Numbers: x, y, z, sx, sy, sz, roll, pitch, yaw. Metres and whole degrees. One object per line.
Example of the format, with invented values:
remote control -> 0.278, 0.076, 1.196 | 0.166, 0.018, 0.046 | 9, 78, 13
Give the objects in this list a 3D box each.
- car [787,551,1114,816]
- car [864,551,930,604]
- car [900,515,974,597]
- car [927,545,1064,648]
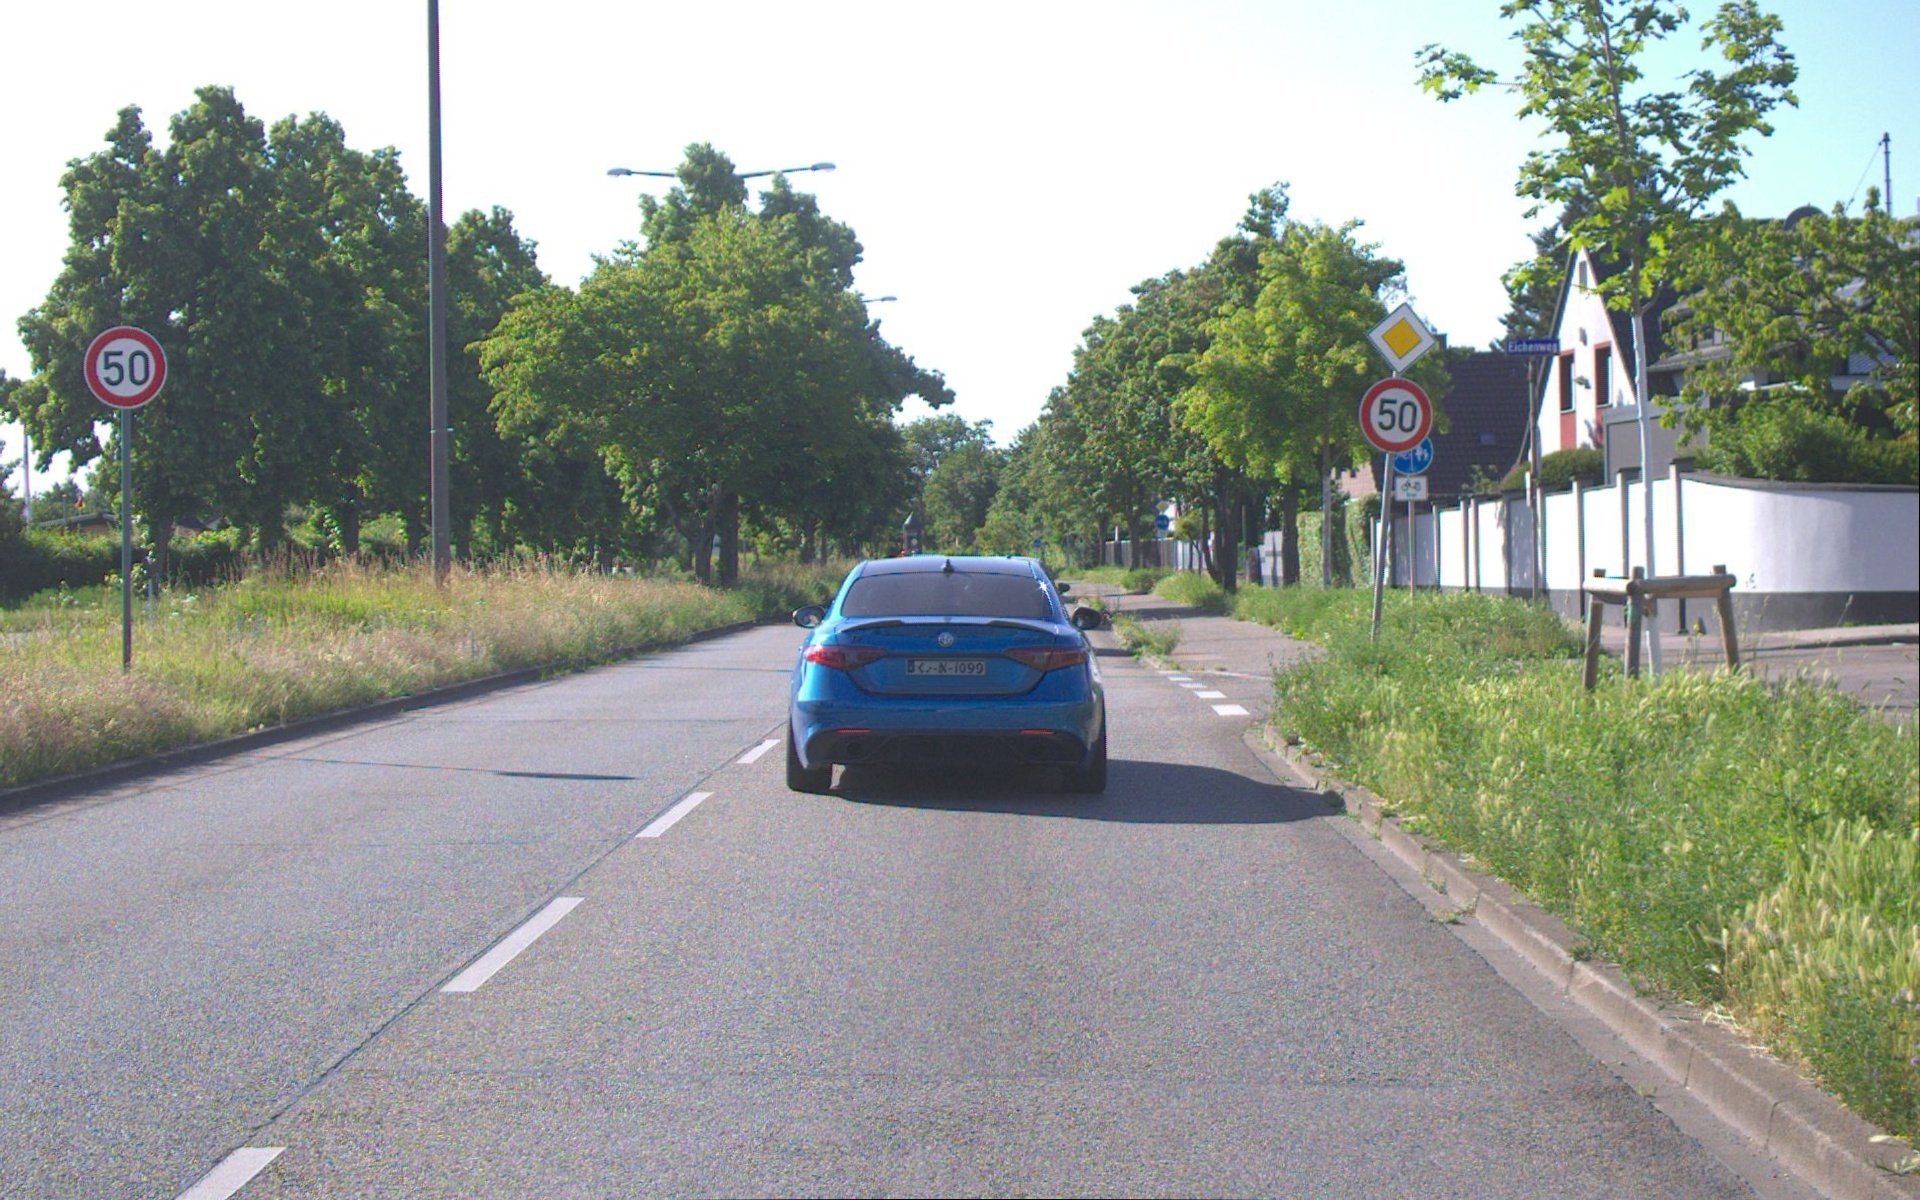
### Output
car -> -0.078, 0.443, 21.575 | 1.838, 1.469, 4.185 | 1, 1, -1
car -> -1.867, -0.681, 101.586 | 1.915, 1.507, 4.068 | 0, 1, -1
car -> -0.557, -1.091, 85.883 | 1.793, 2.007, 4.000 | 0, 1, 1
car -> 0.525, -0.089, 54.628 | 1.915, 1.574, 4.183 | 0, 1, -3
